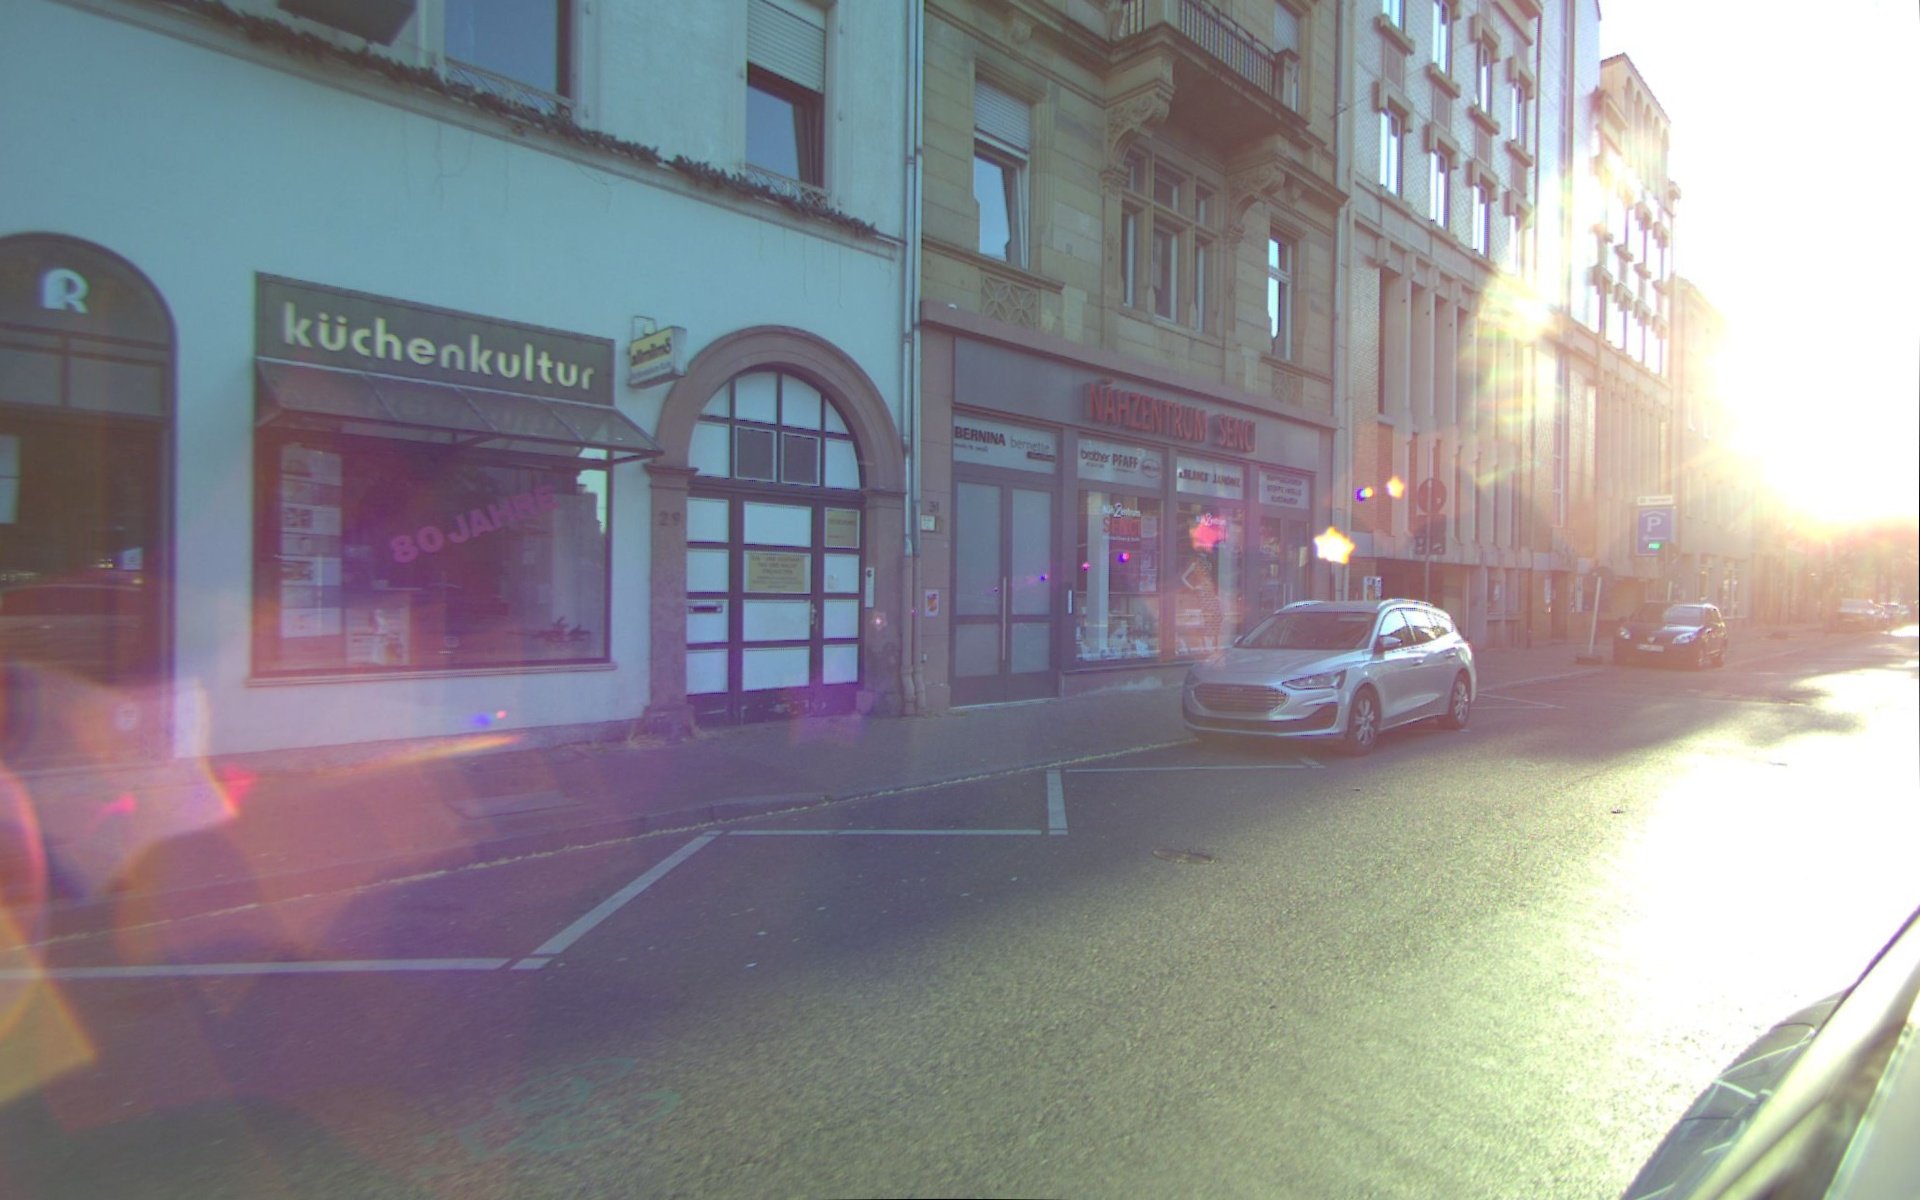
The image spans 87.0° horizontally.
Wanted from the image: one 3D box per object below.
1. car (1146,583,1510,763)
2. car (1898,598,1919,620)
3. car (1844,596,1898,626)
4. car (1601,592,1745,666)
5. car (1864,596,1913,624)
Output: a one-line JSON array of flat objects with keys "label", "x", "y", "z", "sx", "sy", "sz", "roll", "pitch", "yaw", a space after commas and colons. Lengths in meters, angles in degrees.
[{"label": "car", "x": 4.207, "y": 0.670, "z": 11.099, "sx": 4.605, "sy": 1.555, "sz": 1.994, "roll": 2, "pitch": -1, "yaw": -45}, {"label": "car", "x": 68.247, "y": 0.626, "z": 72.209, "sx": 4.217, "sy": 1.571, "sz": 1.752, "roll": 0, "pitch": 1, "yaw": -45}, {"label": "car", "x": 50.309, "y": 0.589, "z": 55.880, "sx": 3.935, "sy": 1.571, "sz": 1.995, "roll": 0, "pitch": 1, "yaw": -45}, {"label": "car", "x": 16.846, "y": 0.637, "z": 23.847, "sx": 3.932, "sy": 1.539, "sz": 1.996, "roll": 1, "pitch": 1, "yaw": -43}, {"label": "car", "x": 55.767, "y": 0.570, "z": 60.790, "sx": 3.935, "sy": 1.571, "sz": 1.995, "roll": 0, "pitch": 1, "yaw": -45}]
